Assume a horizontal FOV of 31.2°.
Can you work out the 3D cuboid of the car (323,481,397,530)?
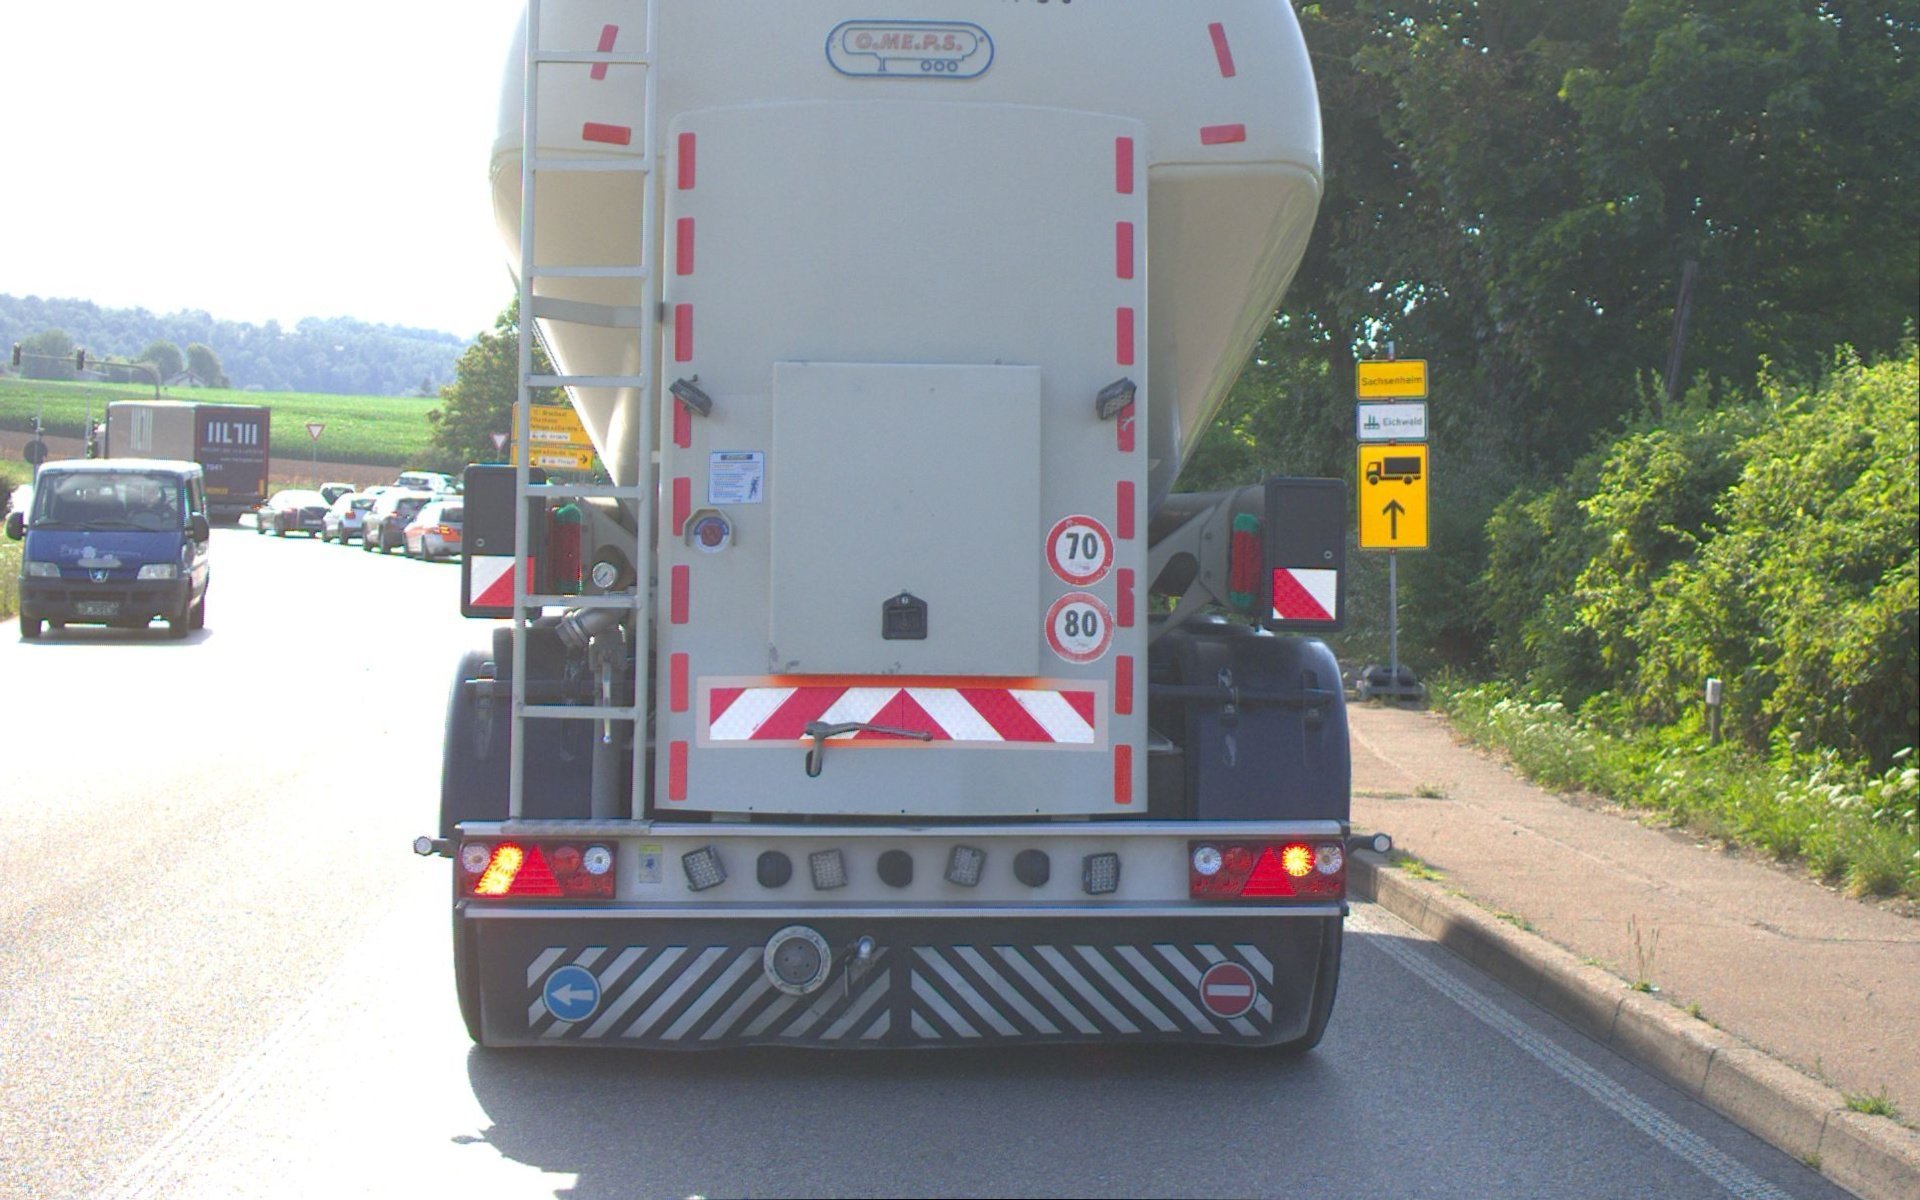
[{"bbox_3d":[-17.331,-2.729,99.232,1.580,1.336,3.427,2,1,-19],"label":"car"}]

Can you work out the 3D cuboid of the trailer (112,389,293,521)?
[{"bbox_3d":[-27.250,-5.164,122.963,3.375,4.335,14.297,1,1,-24],"label":"trailer"}]

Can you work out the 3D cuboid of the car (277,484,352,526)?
[{"bbox_3d":[-19.833,-2.921,105.538,1.769,1.201,3.427,2,1,-19],"label":"car"}]

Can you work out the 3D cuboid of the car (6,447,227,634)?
[{"bbox_3d":[-10.292,-0.735,42.254,1.998,2.129,4.780,1,1,-6],"label":"car"}]

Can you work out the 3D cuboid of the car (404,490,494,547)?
[{"bbox_3d":[-12.654,-2.030,85.071,1.580,1.336,3.427,2,1,-19],"label":"car"}]

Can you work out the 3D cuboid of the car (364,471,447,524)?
[{"bbox_3d":[-14.721,-2.726,91.162,1.580,1.336,3.427,2,1,-19],"label":"car"}]

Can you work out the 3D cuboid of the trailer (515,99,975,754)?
[{"bbox_3d":[-1.589,-1.331,30.212,2.955,4.300,14.177,2,1,-1],"label":"trailer"}]

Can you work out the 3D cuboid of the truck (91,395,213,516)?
[{"bbox_3d":[-30.700,-5.465,130.521,3.375,4.335,5.707,1,1,-24],"label":"truck"}]

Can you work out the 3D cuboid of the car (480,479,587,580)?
[{"bbox_3d":[-8.815,-1.461,70.897,1.861,2.007,3.720,0,1,-12],"label":"car"}]

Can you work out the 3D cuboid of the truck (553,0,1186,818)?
[{"bbox_3d":[-0.524,-1.036,18.042,2.909,3.992,4.060,1,1,-3],"label":"truck"}]

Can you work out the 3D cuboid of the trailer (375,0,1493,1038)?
[{"bbox_3d":[-0.309,-0.956,13.981,2.909,3.992,9.931,1,1,-3],"label":"trailer"}]

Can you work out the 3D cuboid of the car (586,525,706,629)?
[{"bbox_3d":[-4.398,-0.350,48.394,1.580,1.336,3.426,2,1,-5],"label":"car"}]
